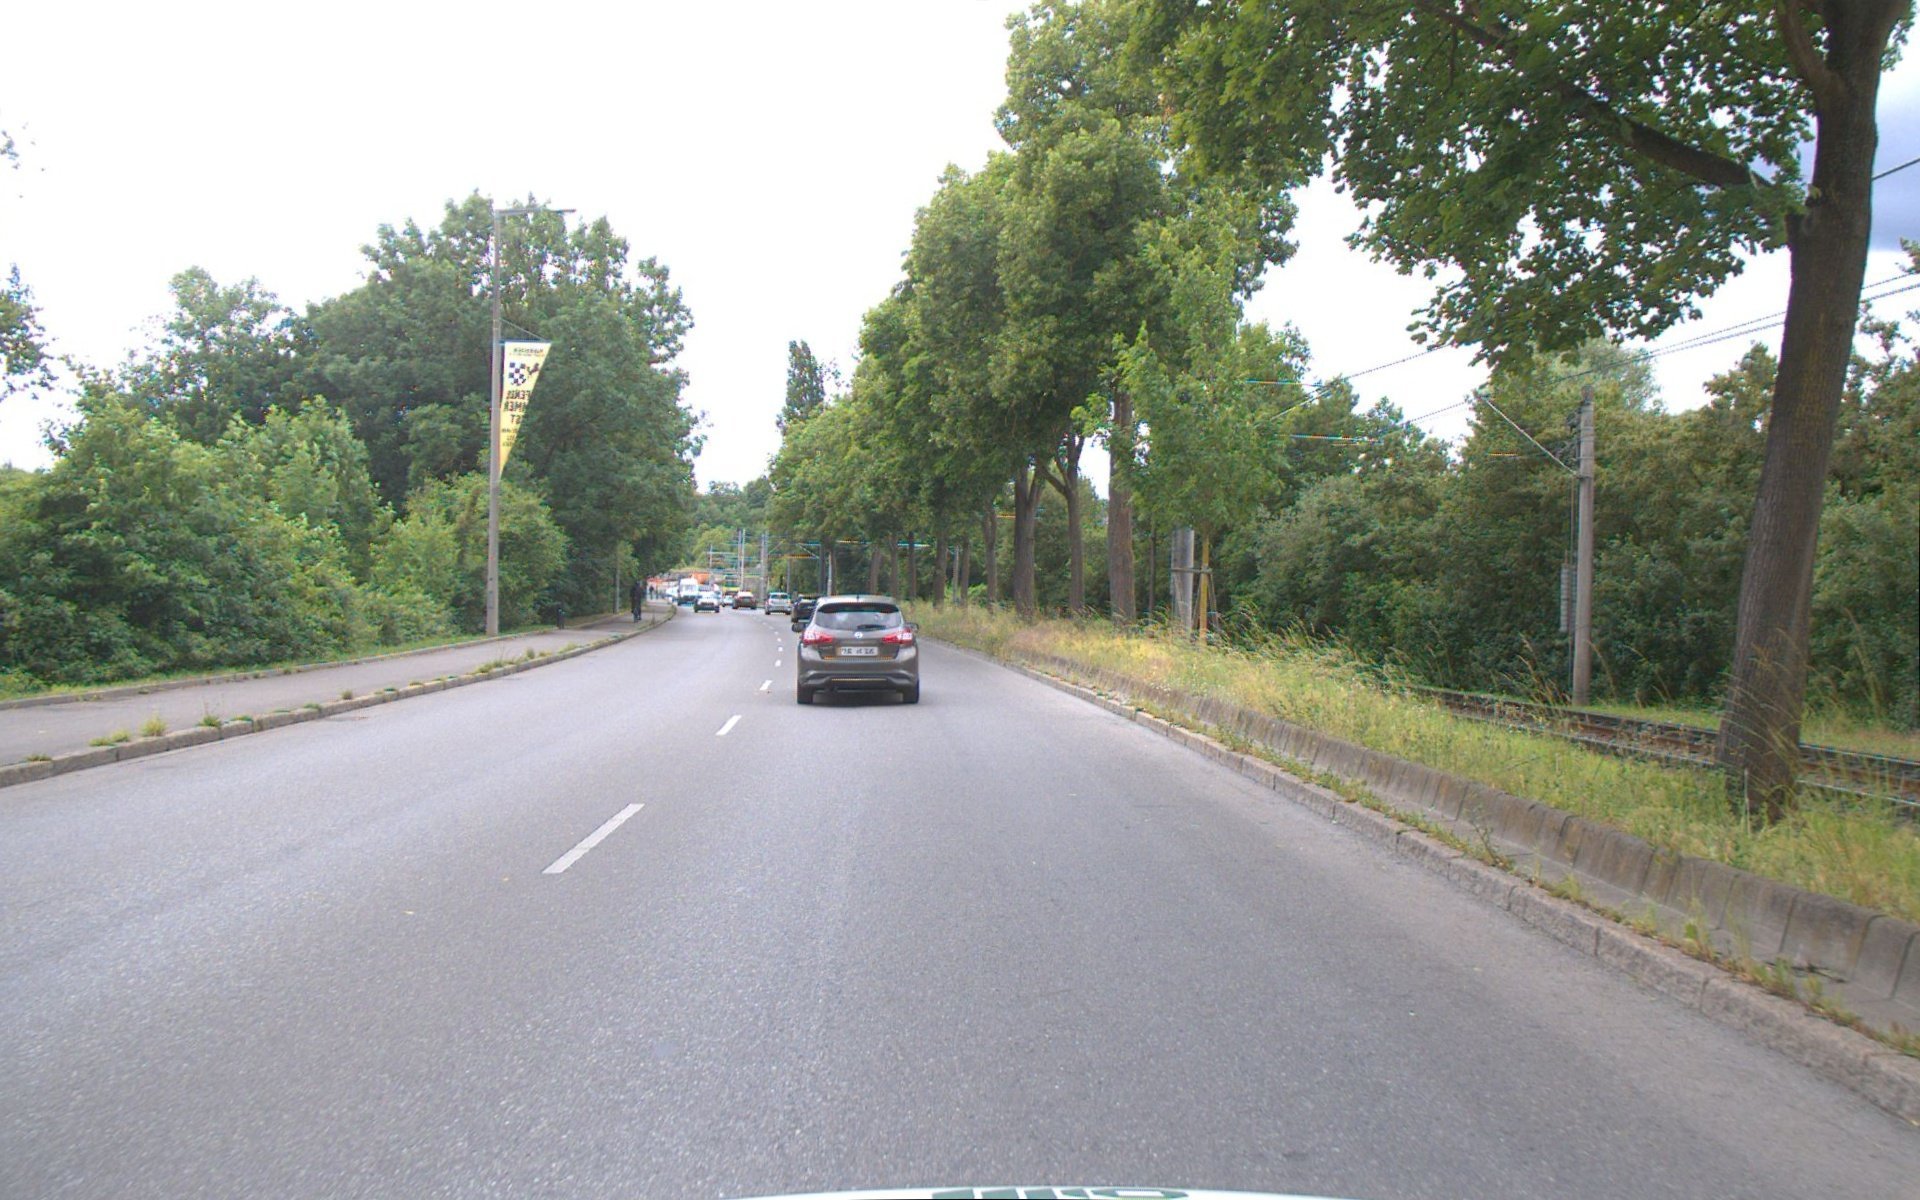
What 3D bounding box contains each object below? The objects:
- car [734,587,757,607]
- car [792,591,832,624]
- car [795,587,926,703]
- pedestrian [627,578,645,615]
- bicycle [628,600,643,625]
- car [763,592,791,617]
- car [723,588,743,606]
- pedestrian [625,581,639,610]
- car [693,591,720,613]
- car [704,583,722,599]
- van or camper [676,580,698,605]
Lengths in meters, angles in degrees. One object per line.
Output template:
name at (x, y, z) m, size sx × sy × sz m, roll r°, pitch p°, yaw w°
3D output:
car at (-17.793, -0.268, 137.368) m, size 1.742 × 1.497 × 3.994 m, roll 3°, pitch 1°, yaw -7°
car at (-7.550, 0.351, 84.760) m, size 1.740 × 1.497 × 3.999 m, roll 3°, pitch 1°, yaw -2°
car at (-1.551, 0.612, 24.741) m, size 1.781 × 1.534 × 3.996 m, roll 0°, pitch 1°, yaw -5°
pedestrian at (-14.246, -0.168, 72.663) m, size 0.605 × 1.598 × 0.848 m, roll 3°, pitch 1°, yaw -5°
bicycle at (-14.274, 0.542, 72.689) m, size 0.478 × 1.048 × 1.123 m, roll 3°, pitch 1°, yaw -5°
car at (-12.515, 0.270, 112.952) m, size 1.742 × 1.497 × 3.994 m, roll 3°, pitch 1°, yaw -7°
car at (-21.202, -0.272, 154.482) m, size 1.742 × 1.497 × 3.994 m, roll 2°, pitch 1°, yaw -7°
pedestrian at (-19.430, -0.285, 97.981) m, size 0.682 × 1.650 × 0.683 m, roll 3°, pitch 1°, yaw -6°
car at (-18.525, 0.142, 121.036) m, size 1.716 × 1.489 × 3.914 m, roll 2°, pitch 0°, yaw -7°
car at (-26.364, -0.994, 176.444) m, size 1.742 × 1.497 × 3.994 m, roll 3°, pitch 1°, yaw -7°
van or camper at (-26.370, -0.711, 159.644) m, size 1.891 × 2.188 × 3.923 m, roll 3°, pitch 1°, yaw -10°
